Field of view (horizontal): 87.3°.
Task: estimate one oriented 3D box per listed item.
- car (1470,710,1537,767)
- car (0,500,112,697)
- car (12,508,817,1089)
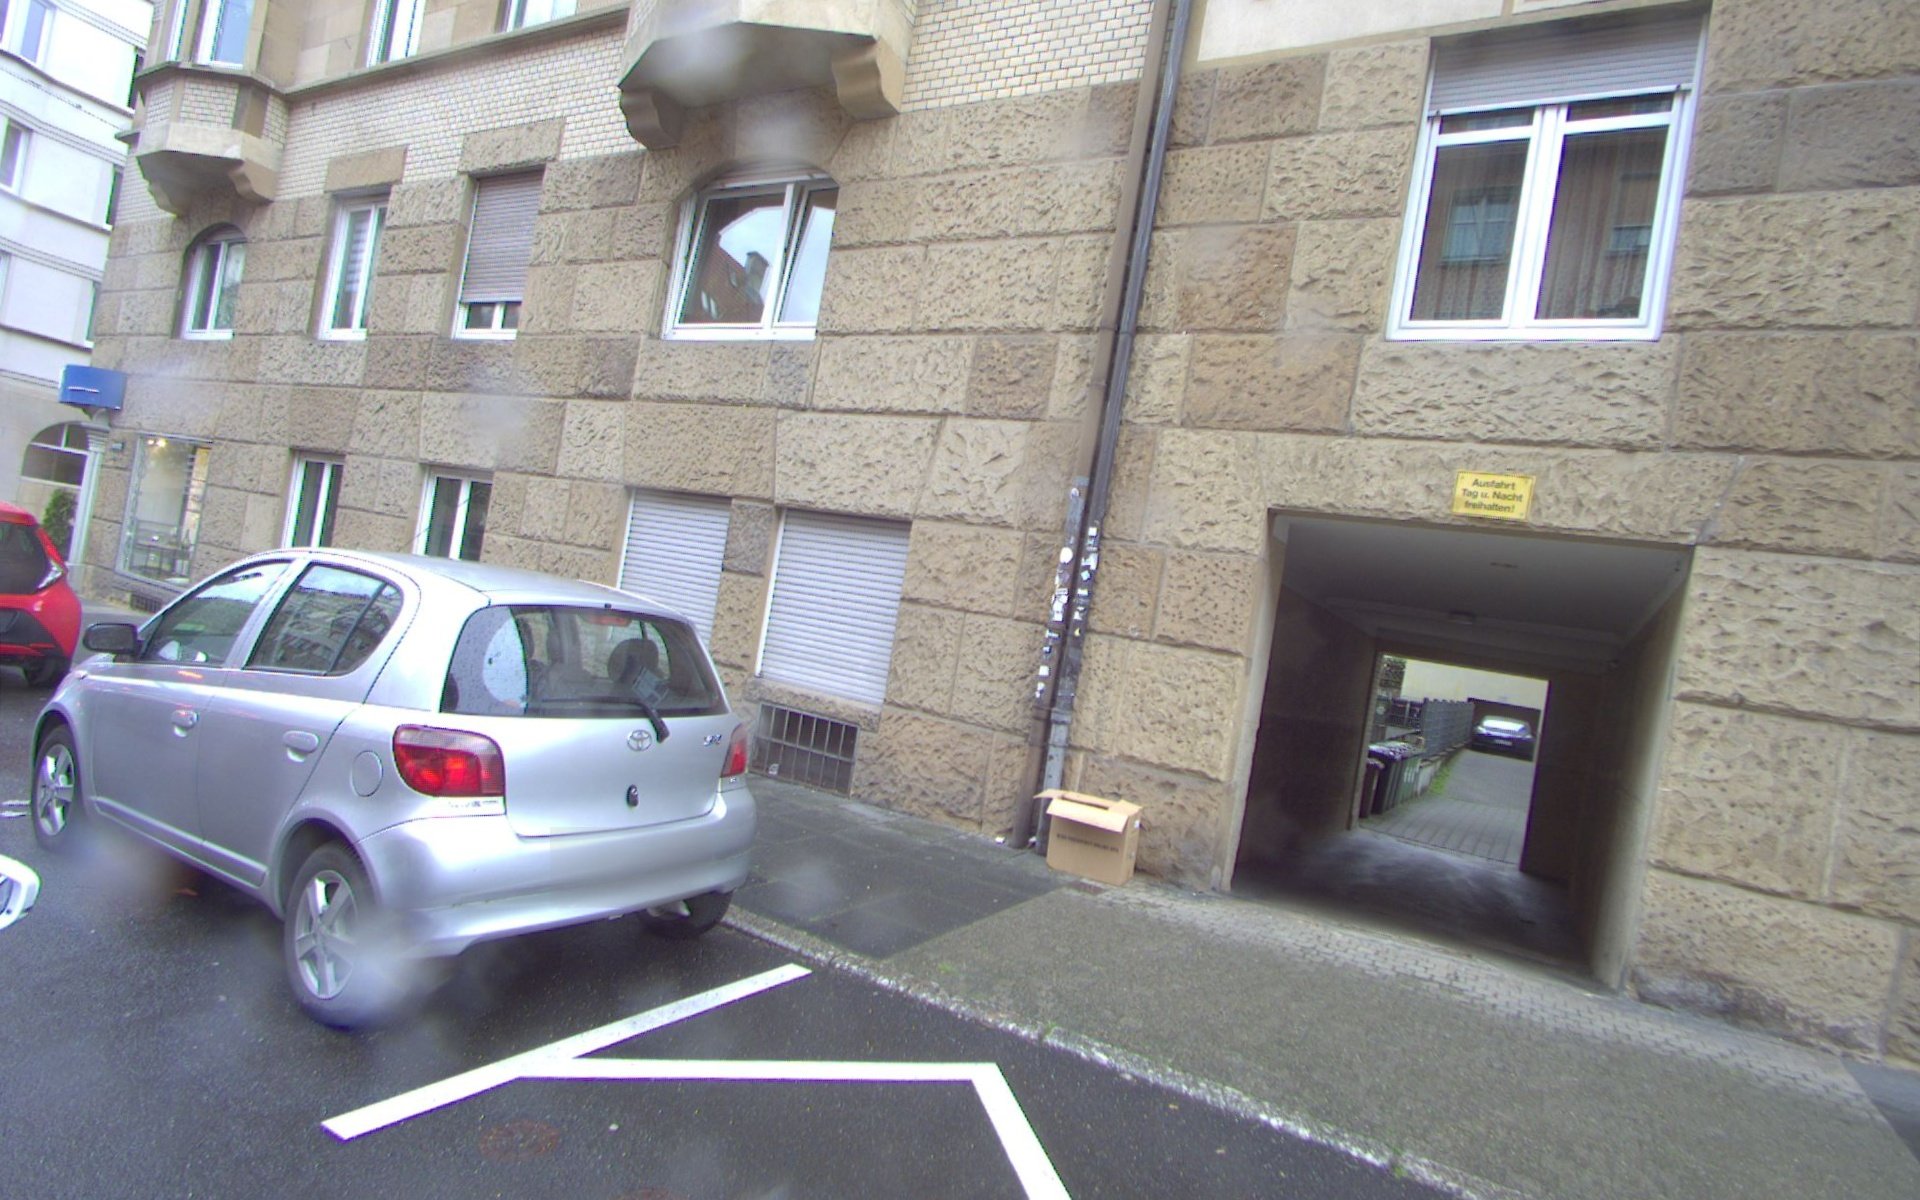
[{"bbox_3d":[18.365,4.658,33.936,1.693,1.538,4.102,7,-3,31],"label":"car"},{"bbox_3d":[-8.714,-0.201,8.172,3.243,1.464,1.646,7,-2,29],"label":"car"},{"bbox_3d":[-2.465,0.545,4.394,3.258,1.485,1.616,7,0,33],"label":"car"}]
